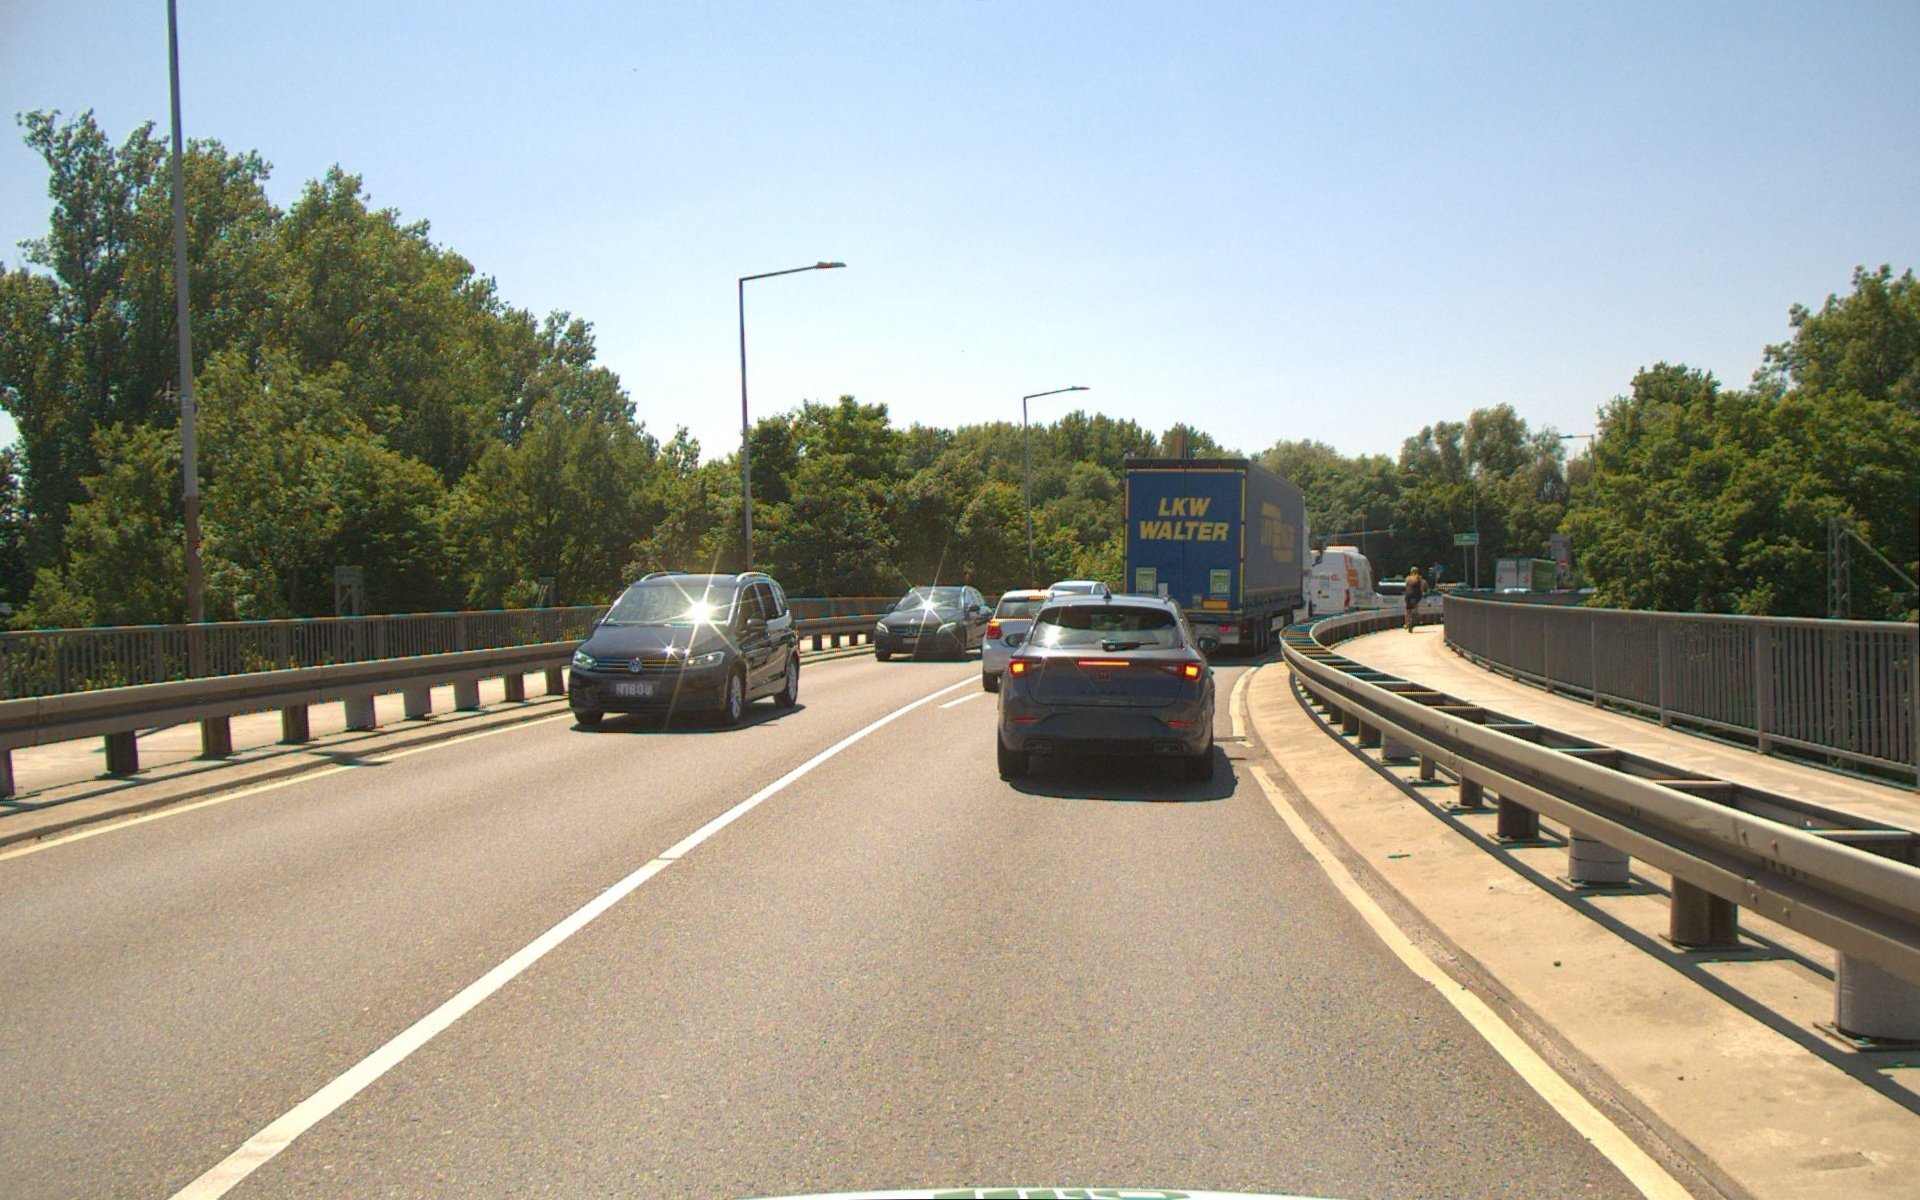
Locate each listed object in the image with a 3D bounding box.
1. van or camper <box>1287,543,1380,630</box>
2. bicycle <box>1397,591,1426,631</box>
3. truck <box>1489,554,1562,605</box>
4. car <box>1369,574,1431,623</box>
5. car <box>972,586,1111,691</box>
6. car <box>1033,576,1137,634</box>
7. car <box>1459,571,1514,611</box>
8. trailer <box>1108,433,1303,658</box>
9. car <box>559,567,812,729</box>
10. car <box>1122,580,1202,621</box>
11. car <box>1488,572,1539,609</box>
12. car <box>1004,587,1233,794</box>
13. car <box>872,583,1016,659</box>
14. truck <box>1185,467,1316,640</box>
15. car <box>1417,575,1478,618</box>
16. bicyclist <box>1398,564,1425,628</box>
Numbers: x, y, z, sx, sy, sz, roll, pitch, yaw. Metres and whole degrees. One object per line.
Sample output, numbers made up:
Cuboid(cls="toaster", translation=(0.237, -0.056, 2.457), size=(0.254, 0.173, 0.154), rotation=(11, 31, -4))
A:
Cuboid(cls="van or camper", translation=(13.049, -0.492, 57.449), size=(2.110, 2.864, 6.386), rotation=(1, 1, 22))
Cuboid(cls="bicycle", translation=(12.458, 0.300, 45.578), size=(0.570, 1.054, 1.485), rotation=(-2, -1, 22))
Cuboid(cls="truck", translation=(33.520, -1.200, 97.925), size=(2.297, 2.924, 5.915), rotation=(1, 1, 38))
Cuboid(cls="car", translation=(17.641, -0.097, 66.261), size=(1.687, 1.876, 3.997), rotation=(1, 1, 26))
Cuboid(cls="car", translation=(1.336, 0.535, 25.572), size=(1.641, 1.435, 3.979), rotation=(1, 1, 10))
Cuboid(cls="car", translation=(3.676, 0.123, 48.017), size=(1.702, 1.607, 4.174), rotation=(0, 0, 24))
Cuboid(cls="car", translation=(26.025, -0.460, 81.685), size=(1.689, 1.876, 3.991), rotation=(1, 1, 31))
Cuboid(cls="trailer", translation=(6.174, -1.176, 39.407), size=(2.843, 4.495, 12.441), rotation=(1, 1, 16))
Cuboid(cls="car", translation=(-3.014, 0.480, 19.086), size=(1.734, 1.654, 4.257), rotation=(0, 0, 7))
Cuboid(cls="car", translation=(7.143, 0.014, 58.272), size=(1.663, 1.400, 3.997), rotation=(0, 0, 25))
Cuboid(cls="car", translation=(29.210, -0.512, 87.208), size=(1.689, 1.876, 3.991), rotation=(1, 1, 31))
Cuboid(cls="car", translation=(1.250, 0.636, 13.945), size=(1.642, 1.481, 3.960), rotation=(0, 1, 3))
Cuboid(cls="car", translation=(-0.257, 0.391, 34.280), size=(1.735, 1.464, 4.394), rotation=(0, 0, 17))
Cuboid(cls="truck", translation=(8.279, -1.260, 46.545), size=(2.843, 4.495, 6.560), rotation=(1, 1, 16))
Cuboid(cls="car", translation=(21.782, -0.186, 73.798), size=(1.689, 1.834, 3.992), rotation=(1, 1, 30))
Cuboid(cls="bicyclist", translation=(12.443, -0.115, 45.600), size=(0.566, 1.712, 0.729), rotation=(-2, -1, 22))
